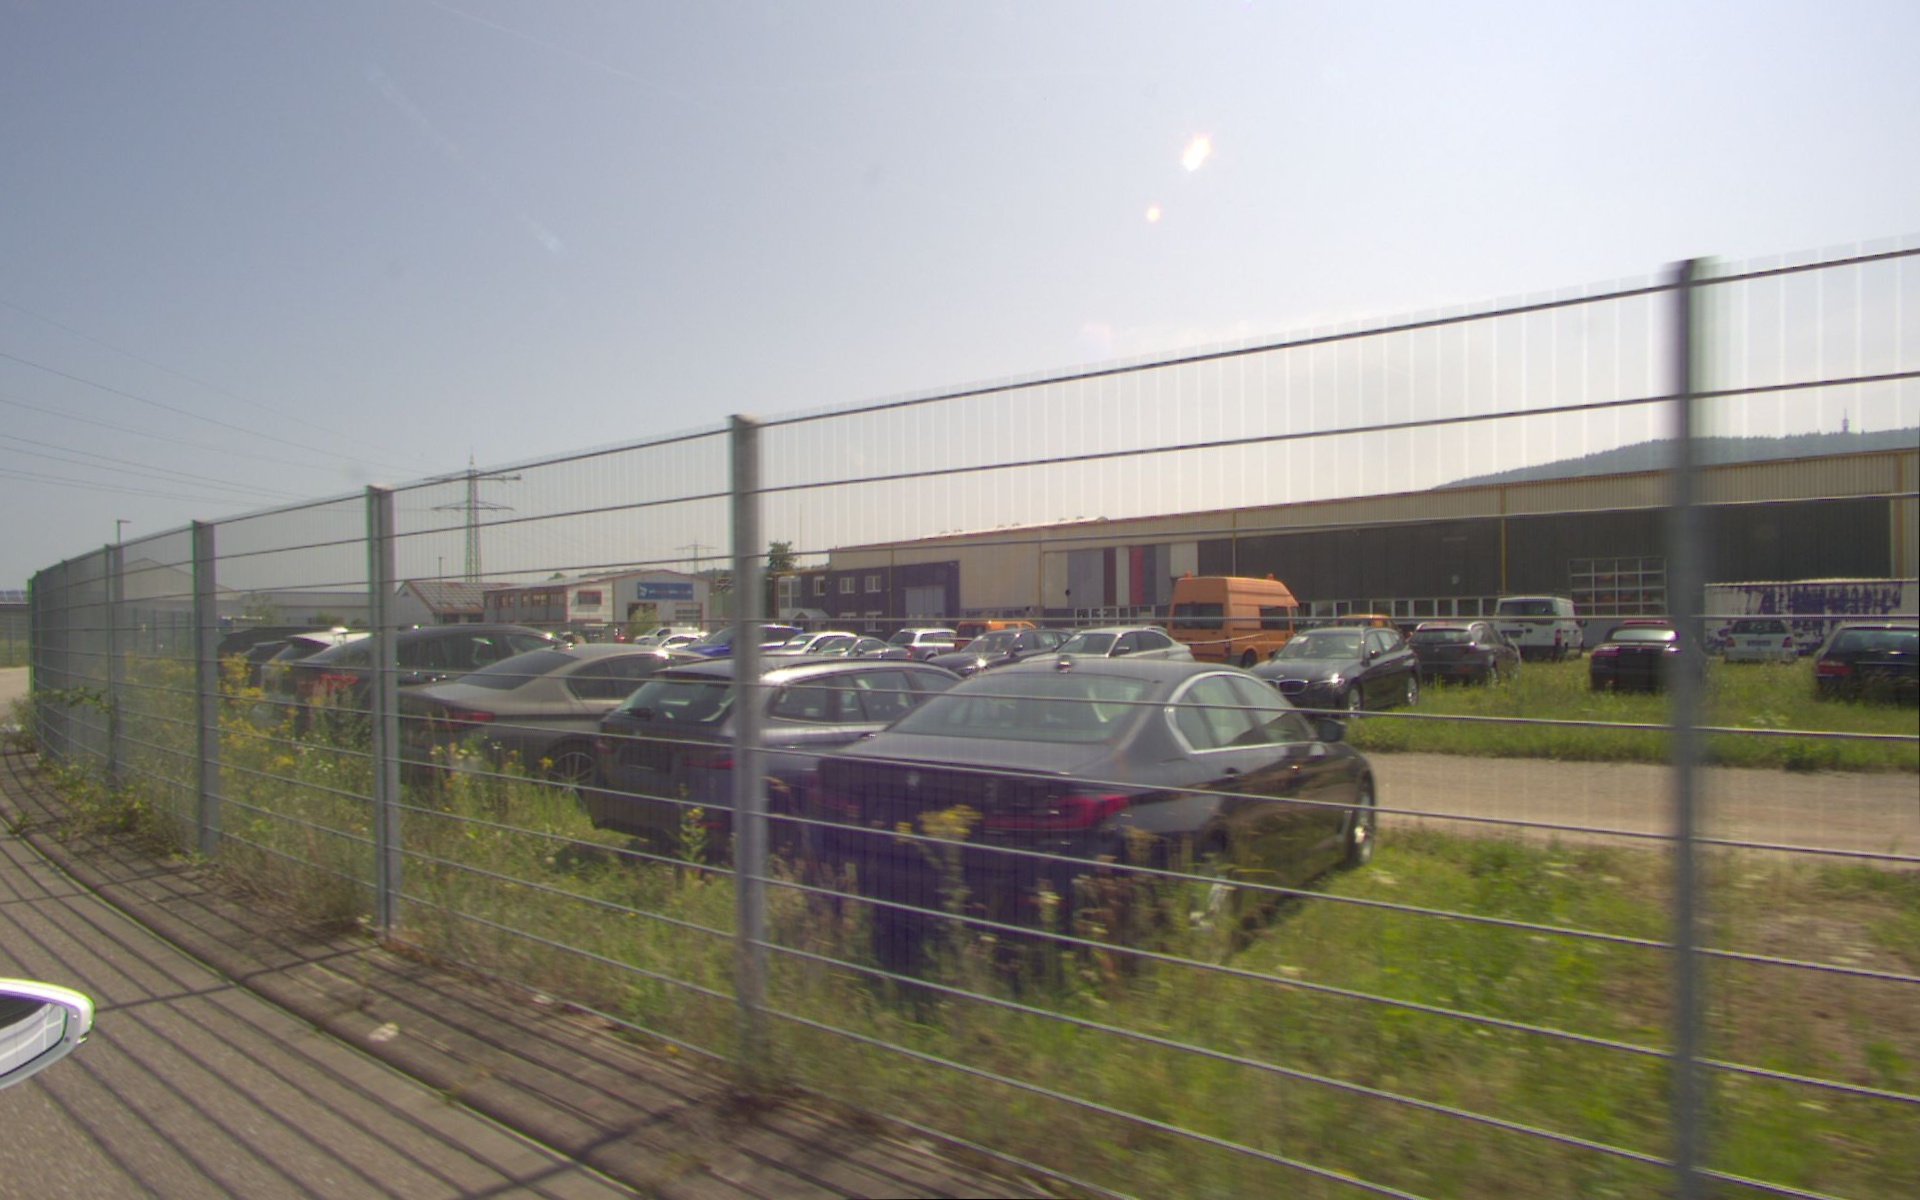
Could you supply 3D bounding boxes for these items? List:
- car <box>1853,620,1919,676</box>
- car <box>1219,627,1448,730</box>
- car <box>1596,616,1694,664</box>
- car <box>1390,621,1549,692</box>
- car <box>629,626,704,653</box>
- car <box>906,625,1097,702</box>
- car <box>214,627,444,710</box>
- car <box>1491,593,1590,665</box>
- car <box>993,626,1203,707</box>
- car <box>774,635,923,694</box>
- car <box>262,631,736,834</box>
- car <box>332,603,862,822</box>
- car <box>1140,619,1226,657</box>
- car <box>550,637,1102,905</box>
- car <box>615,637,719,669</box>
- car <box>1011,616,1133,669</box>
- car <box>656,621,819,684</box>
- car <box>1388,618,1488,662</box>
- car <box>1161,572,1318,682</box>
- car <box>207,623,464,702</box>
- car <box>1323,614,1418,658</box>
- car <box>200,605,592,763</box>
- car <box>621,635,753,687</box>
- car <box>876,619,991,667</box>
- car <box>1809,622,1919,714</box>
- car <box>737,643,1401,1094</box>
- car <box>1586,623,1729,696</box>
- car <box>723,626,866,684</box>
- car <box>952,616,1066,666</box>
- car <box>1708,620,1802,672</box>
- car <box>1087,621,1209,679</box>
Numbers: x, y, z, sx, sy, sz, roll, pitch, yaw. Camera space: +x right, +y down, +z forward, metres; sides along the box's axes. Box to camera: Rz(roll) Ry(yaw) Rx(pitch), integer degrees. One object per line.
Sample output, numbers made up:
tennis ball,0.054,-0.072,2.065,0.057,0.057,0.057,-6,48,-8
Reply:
car,26.307,1.295,27.980,1.823,1.396,4.348,-1,0,45
car,6.336,1.191,16.670,1.803,1.369,4.715,-1,0,45
car,21.282,1.200,31.055,1.952,1.340,4.352,-1,-1,42
car,10.910,1.130,21.299,1.803,1.286,4.348,-1,-1,45
car,-21.565,2.867,73.747,5.027,1.923,1.840,1,-2,-44
car,1.019,1.331,22.272,1.645,1.451,4.533,-1,0,45
car,-14.122,1.489,22.720,4.228,1.659,1.757,0,0,-27
car,19.119,0.896,32.914,1.952,2.200,4.352,0,0,42
car,2.937,1.266,20.479,1.803,1.369,4.715,-1,0,45
car,-2.881,1.642,26.355,1.595,1.318,3.738,-1,0,45
car,-4.863,1.238,11.023,4.438,1.691,1.707,0,0,-43
car,-3.200,0.839,9.546,1.777,1.603,4.443,-1,0,44
car,9.651,1.590,43.146,1.734,1.505,4.352,-1,0,42
car,-0.738,1.058,7.995,1.702,1.400,4.451,-1,0,38
car,-13.738,2.452,47.057,4.480,1.368,1.611,1,-2,-44
car,3.449,1.244,30.507,1.738,1.481,3.793,-1,0,45
car,-6.612,1.505,29.978,4.427,1.670,1.862,0,0,-41
car,16.739,1.341,34.962,1.823,1.396,4.348,-1,0,45
car,7.412,0.658,26.286,1.960,2.618,4.701,0,0,45
car,-12.514,1.189,20.279,4.237,1.396,1.754,0,0,-33
car,15.469,1.304,37.587,1.952,1.505,4.352,-1,0,42
car,-7.045,0.916,12.780,4.093,1.692,1.707,0,0,-43
car,-8.575,1.883,31.675,1.595,1.456,3.738,-1,0,45
car,-0.845,1.384,33.354,1.573,1.481,3.793,-1,0,45
car,15.529,1.047,16.634,1.860,1.291,4.348,-1,-1,45
car,1.029,1.031,5.754,1.702,1.400,4.446,-1,0,38
car,13.585,1.073,19.397,1.561,1.199,4.348,-1,0,45
car,-4.576,1.488,28.016,1.595,1.456,3.738,-1,0,45
car,1.624,1.284,32.228,1.573,1.481,3.793,-1,0,45
car,24.173,1.342,30.391,1.952,1.404,4.352,-1,0,42
car,5.378,1.352,28.396,1.573,1.481,3.793,-1,0,45
